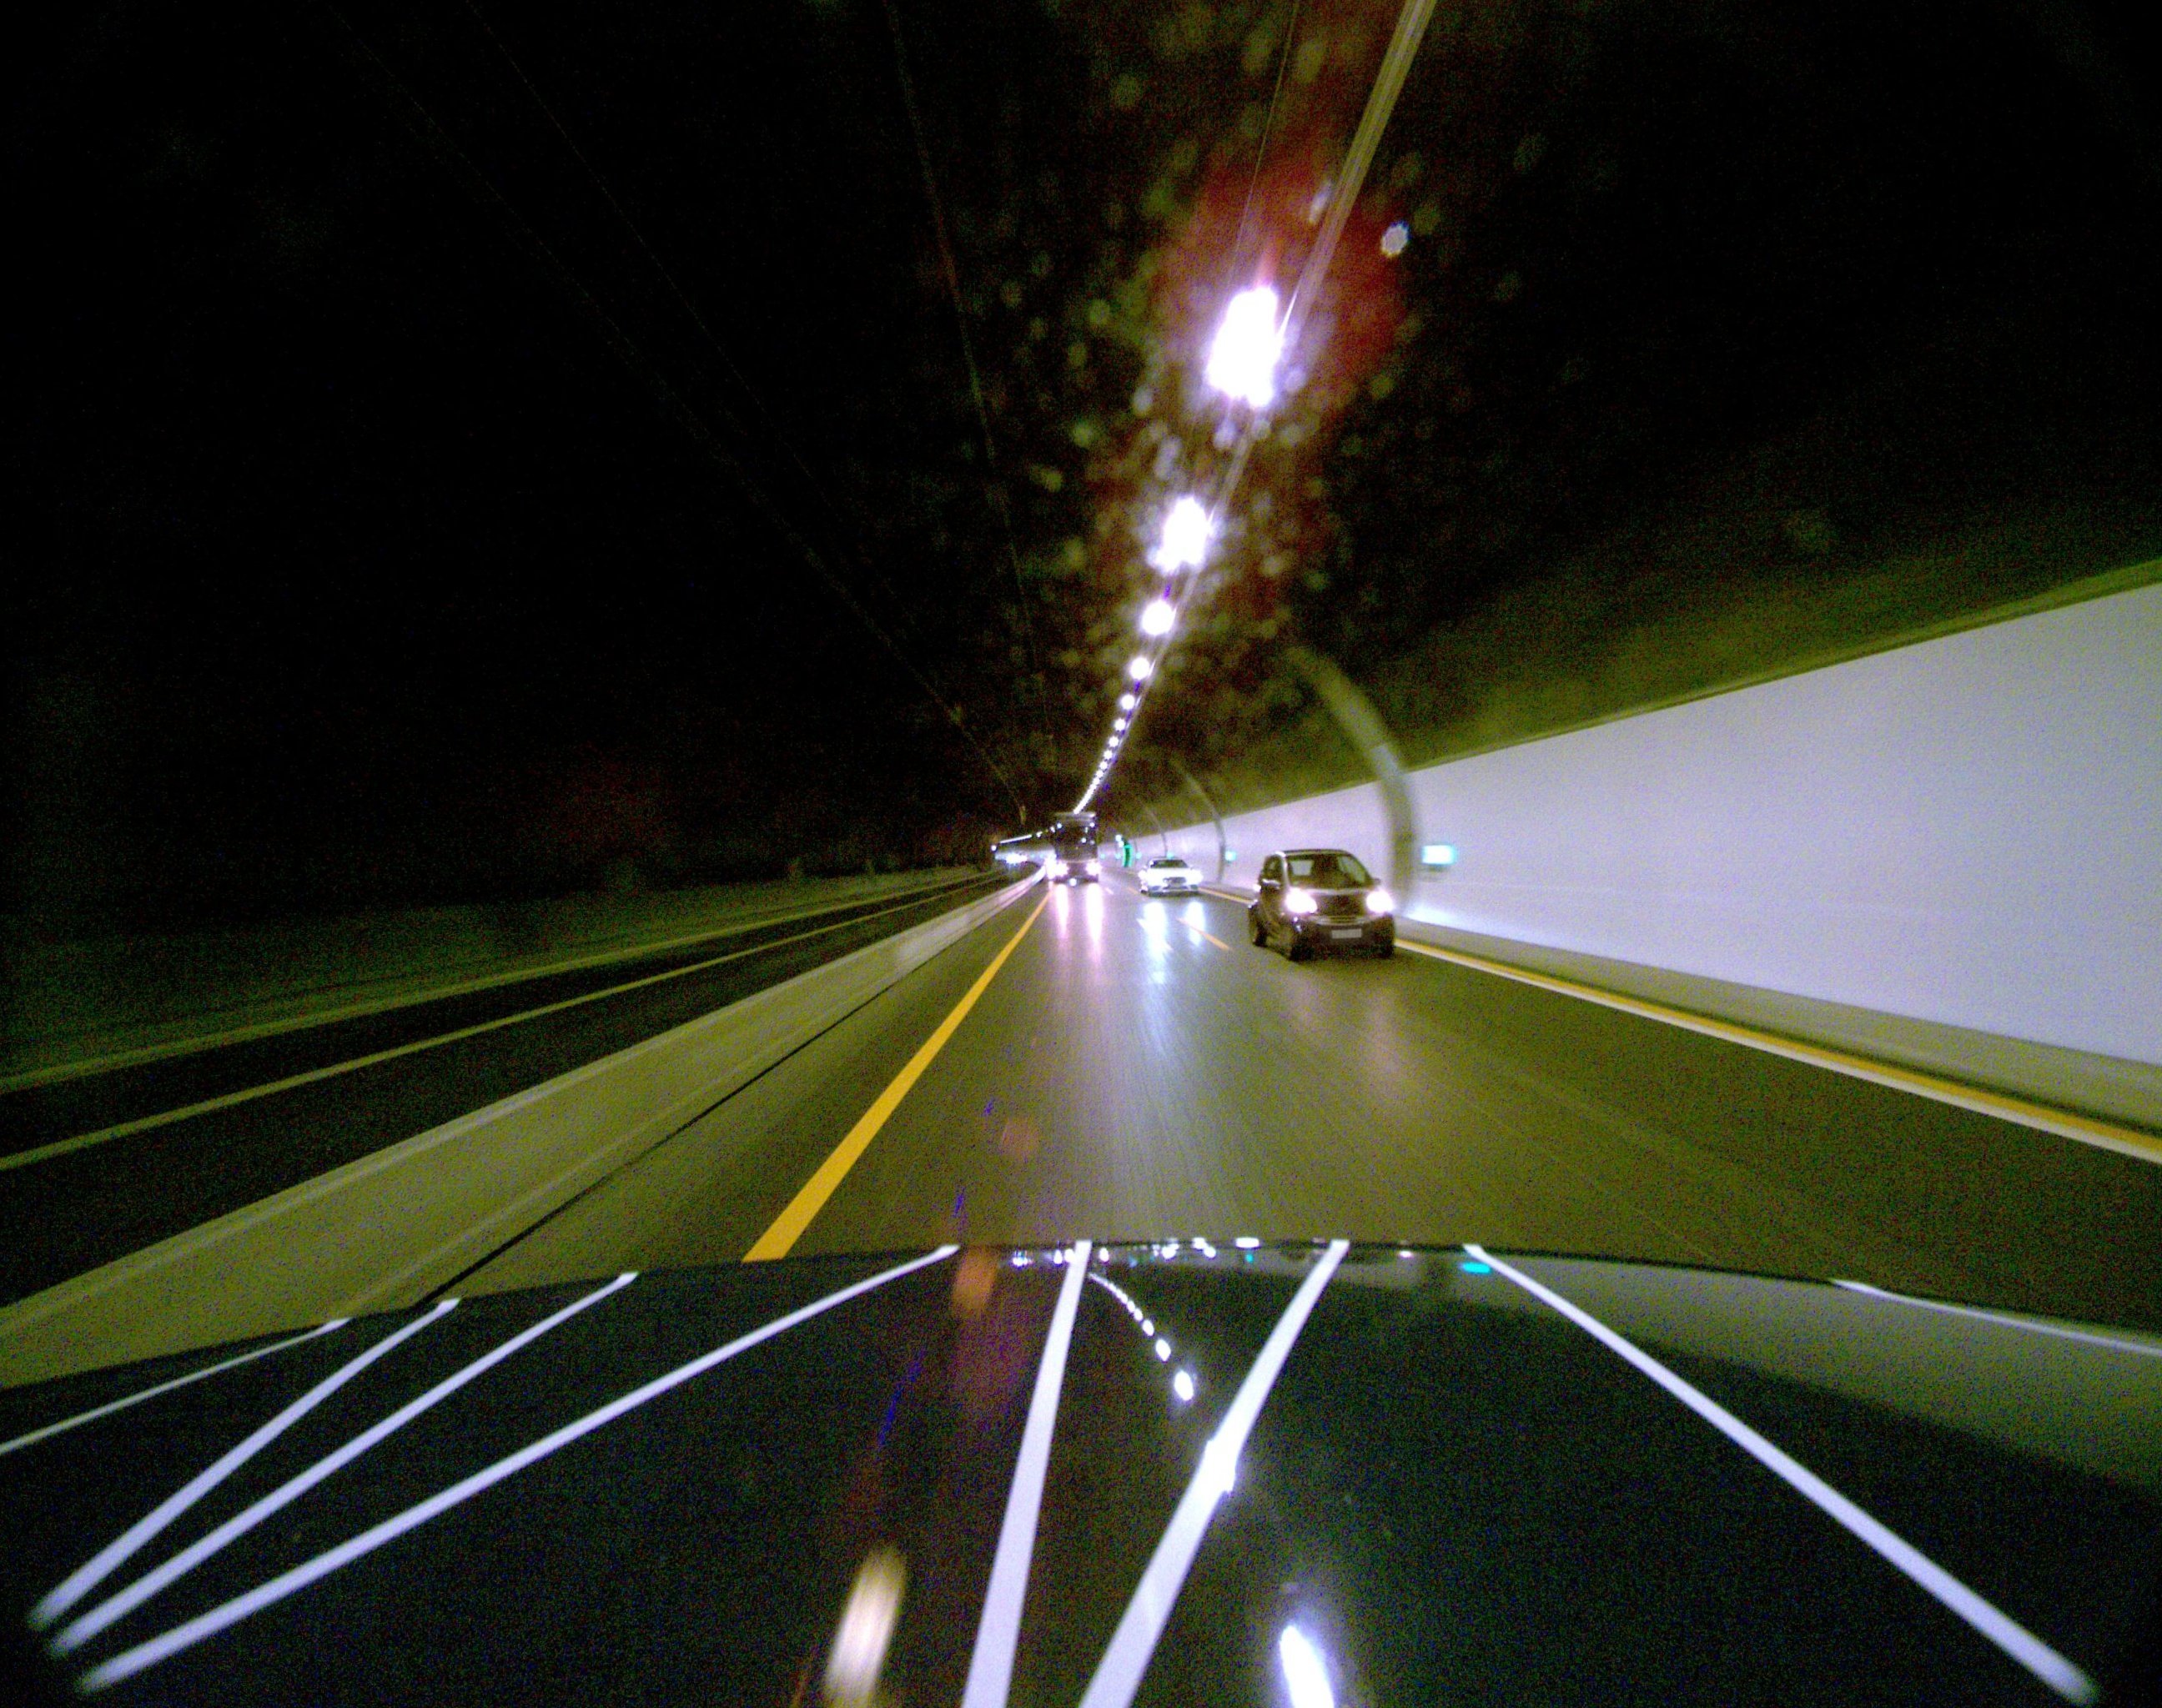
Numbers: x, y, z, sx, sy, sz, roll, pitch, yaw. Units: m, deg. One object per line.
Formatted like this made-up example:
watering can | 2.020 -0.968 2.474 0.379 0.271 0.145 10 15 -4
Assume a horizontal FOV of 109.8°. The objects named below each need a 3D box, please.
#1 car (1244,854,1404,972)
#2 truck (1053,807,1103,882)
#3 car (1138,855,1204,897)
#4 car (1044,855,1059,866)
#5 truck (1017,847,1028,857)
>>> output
car | 3.481 0.775 11.333 1.531 1.508 2.651 -2 0 1
truck | -0.244 -0.543 47.031 2.742 4.127 8.099 -2 0 -1
car | 3.299 0.775 28.580 1.909 1.412 4.060 -2 0 0
car | -4.292 0.972 109.949 1.999 1.524 3.999 -2 0 -1
truck | -17.700 -0.639 230.365 2.611 2.723 6.392 -2 0 -10
